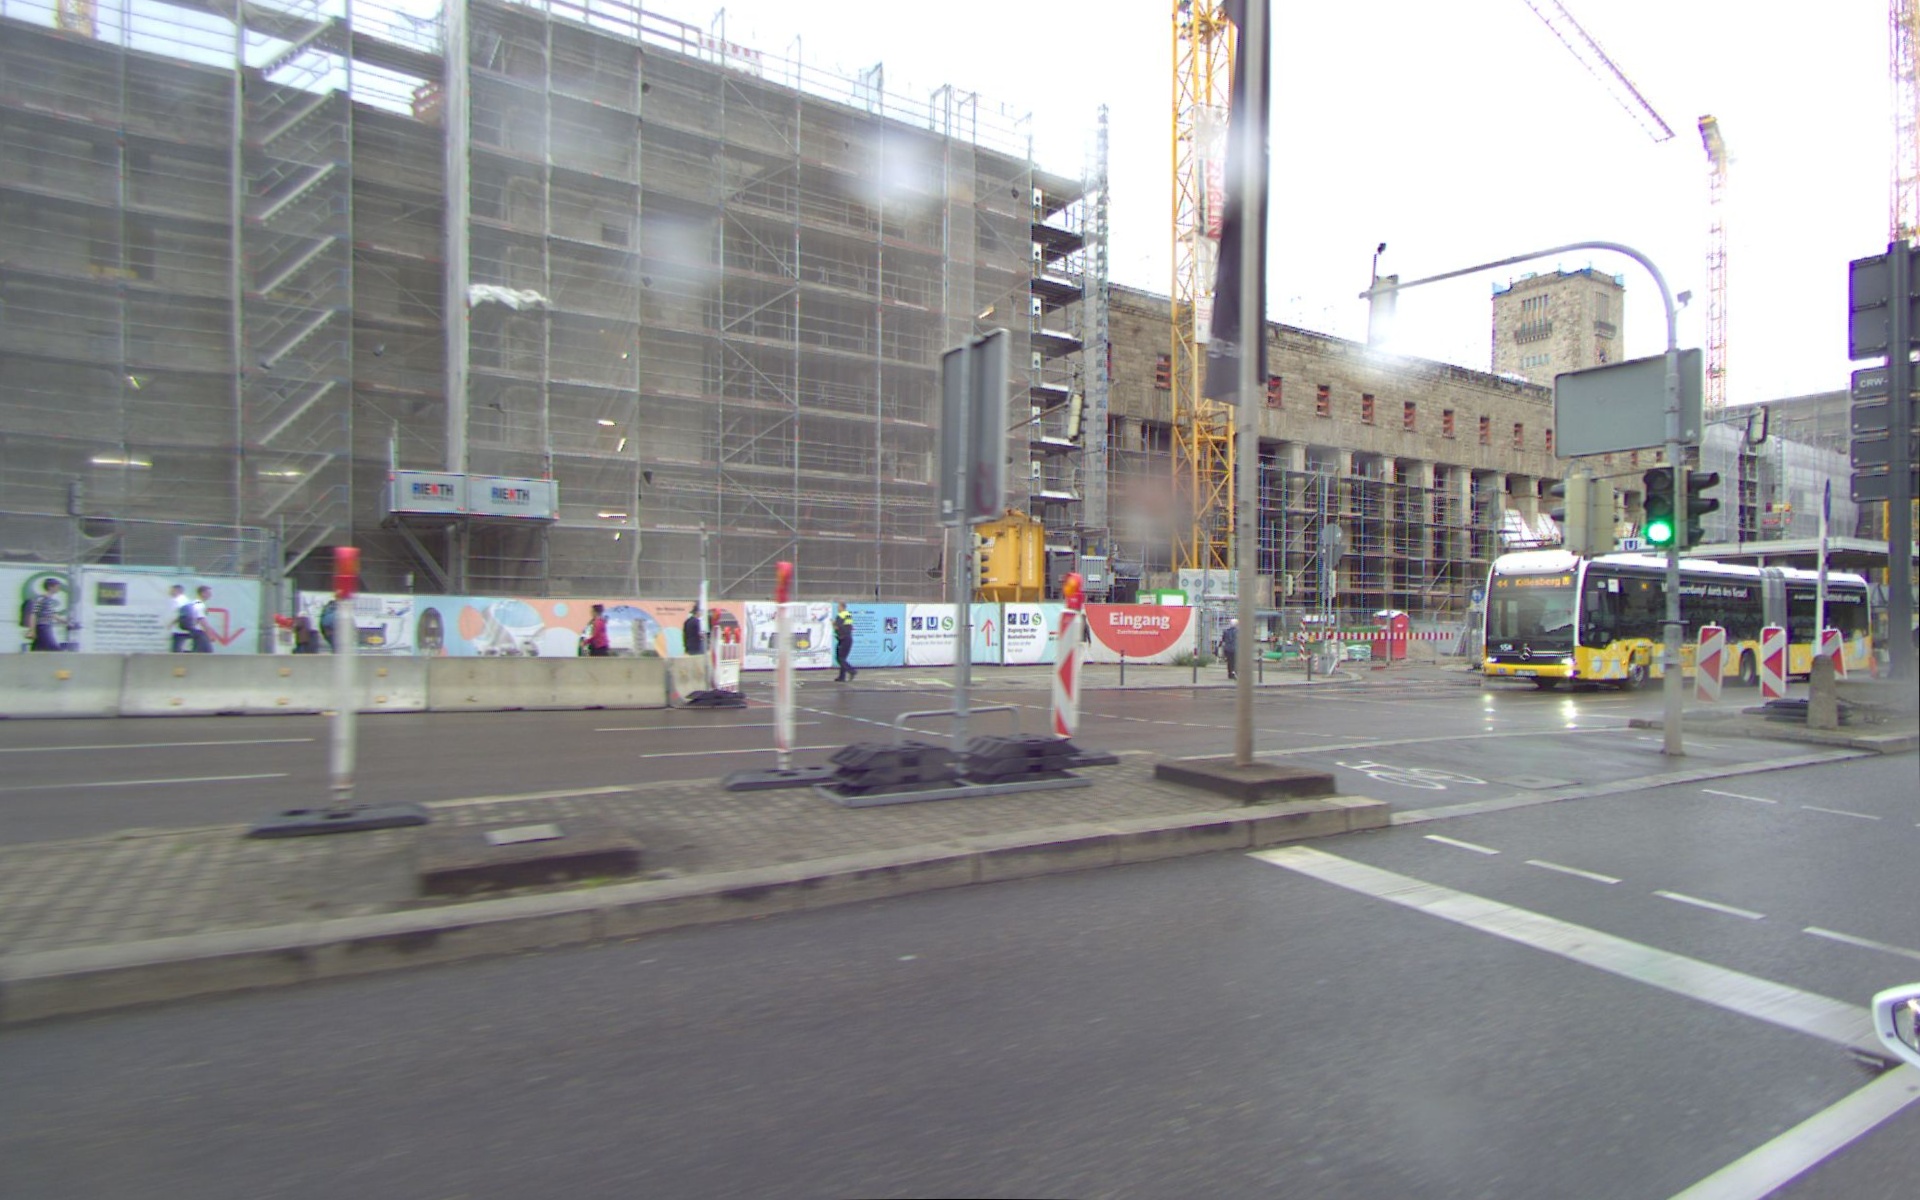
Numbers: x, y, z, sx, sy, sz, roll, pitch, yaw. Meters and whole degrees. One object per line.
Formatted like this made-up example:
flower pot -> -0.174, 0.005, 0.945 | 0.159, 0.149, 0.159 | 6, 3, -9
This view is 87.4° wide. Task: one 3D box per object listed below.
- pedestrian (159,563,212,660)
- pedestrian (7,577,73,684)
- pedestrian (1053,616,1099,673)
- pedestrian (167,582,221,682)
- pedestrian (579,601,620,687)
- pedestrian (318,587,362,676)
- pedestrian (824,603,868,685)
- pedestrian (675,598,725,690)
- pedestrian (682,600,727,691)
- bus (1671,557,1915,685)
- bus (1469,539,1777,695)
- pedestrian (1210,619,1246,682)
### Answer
pedestrian -> -15.257, 0.227, 19.799 | 0.709, 1.860, 0.478 | 2, 0, -30
pedestrian -> -16.339, 0.540, 17.855 | 0.709, 1.860, 0.583 | 2, 0, -30
pedestrian -> 3.345, 1.275, 29.003 | 0.890, 1.584, 0.909 | 2, 0, -33
pedestrian -> -14.539, 0.602, 19.082 | 0.709, 1.860, 0.478 | 2, 0, -30
pedestrian -> -7.499, 0.909, 20.877 | 0.613, 1.740, 0.794 | 2, -2, -33
pedestrian -> -13.179, 0.664, 21.364 | 0.709, 1.860, 0.478 | 2, 0, -30
pedestrian -> -2.672, 1.021, 23.483 | 0.810, 1.860, 0.576 | 2, 0, -30
pedestrian -> -5.372, 0.902, 20.767 | 0.810, 1.860, 0.576 | 2, 0, -30
pedestrian -> -5.567, 0.975, 21.852 | 0.614, 1.915, 0.793 | 2, 0, -38
bus -> 26.950, 0.755, 32.304 | 10.092, 3.649, 2.655 | 2, 0, -30
bus -> 18.136, 0.559, 27.160 | 10.119, 3.649, 2.655 | 2, 0, -30
pedestrian -> 7.005, 1.305, 26.231 | 0.772, 1.581, 0.875 | 2, 0, 22
